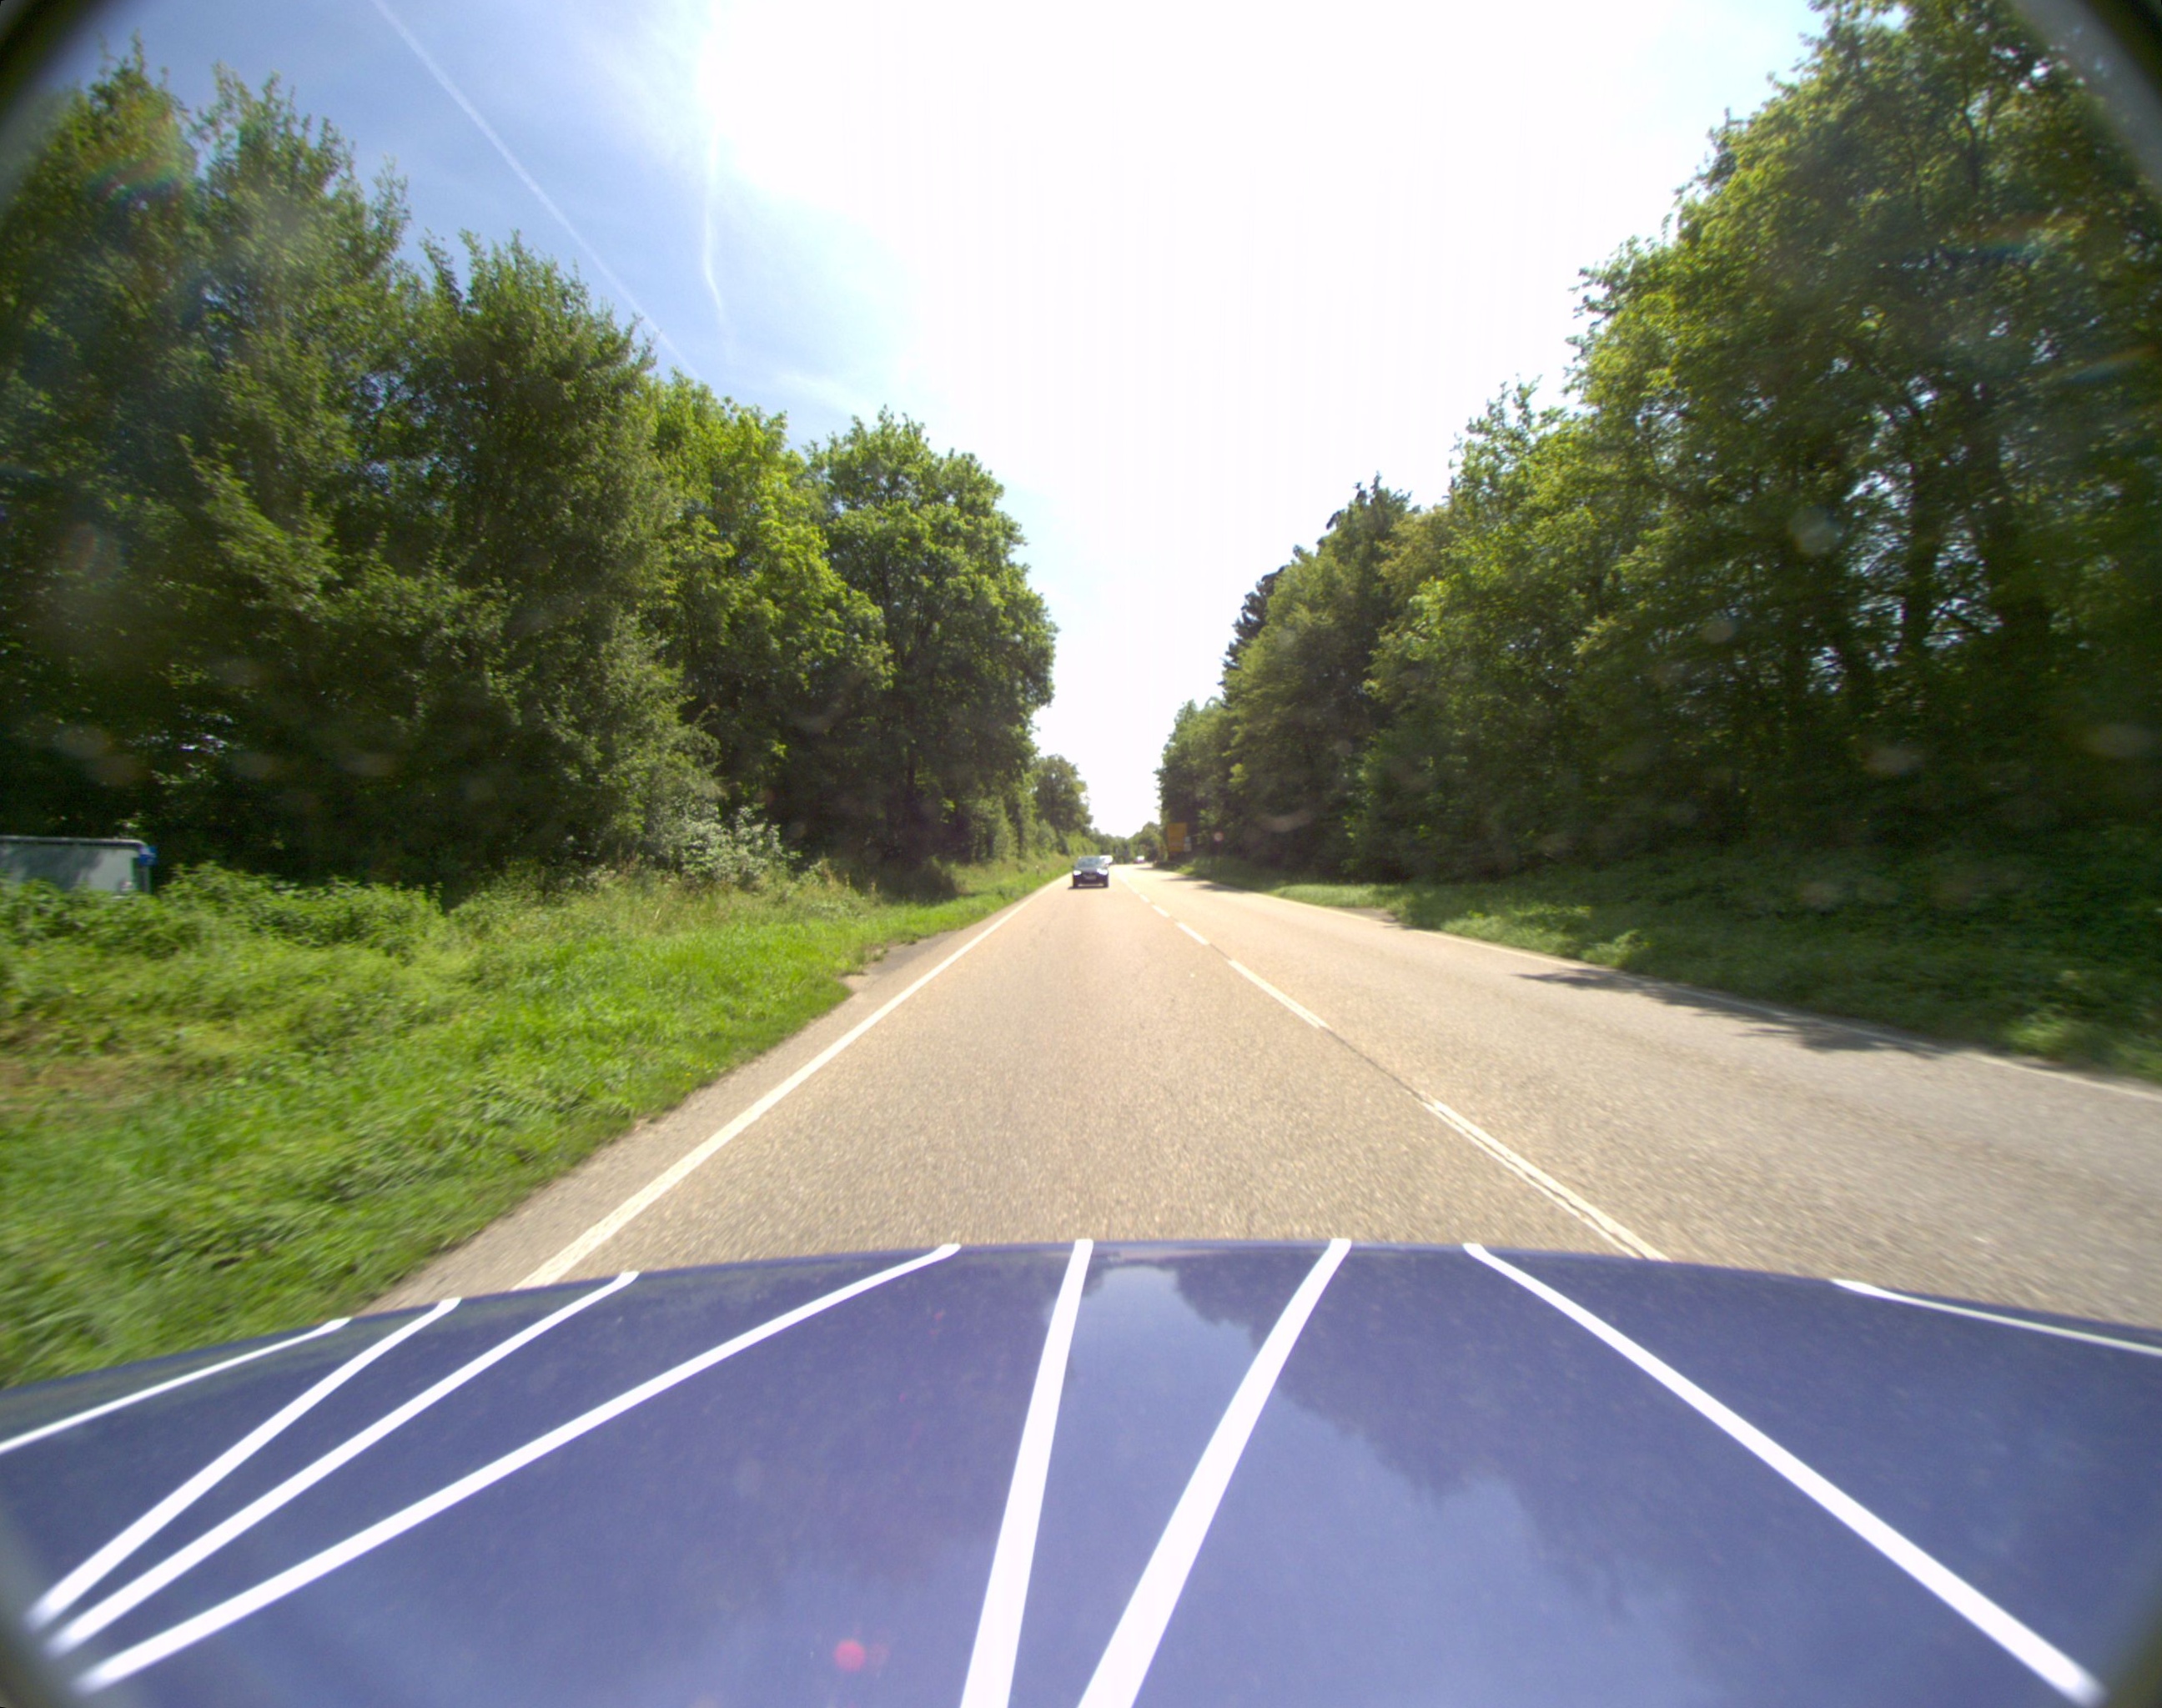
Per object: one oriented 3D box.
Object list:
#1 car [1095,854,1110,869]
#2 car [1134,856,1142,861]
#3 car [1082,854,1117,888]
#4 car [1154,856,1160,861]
[{"bbox_3d":[2.774,0.990,97.553,1.770,1.673,4.001,-4,-1,2],"label":"car"},{"bbox_3d":[15.920,1.317,212.542,1.808,1.444,4.390,-2,-1,8],"label":"car"},{"bbox_3d":[0.907,0.802,37.676,1.627,1.535,4.000,-2,0,1],"label":"car"},{"bbox_3d":[24.470,1.413,245.313,1.810,1.426,3.873,-1,-1,5],"label":"car"}]
